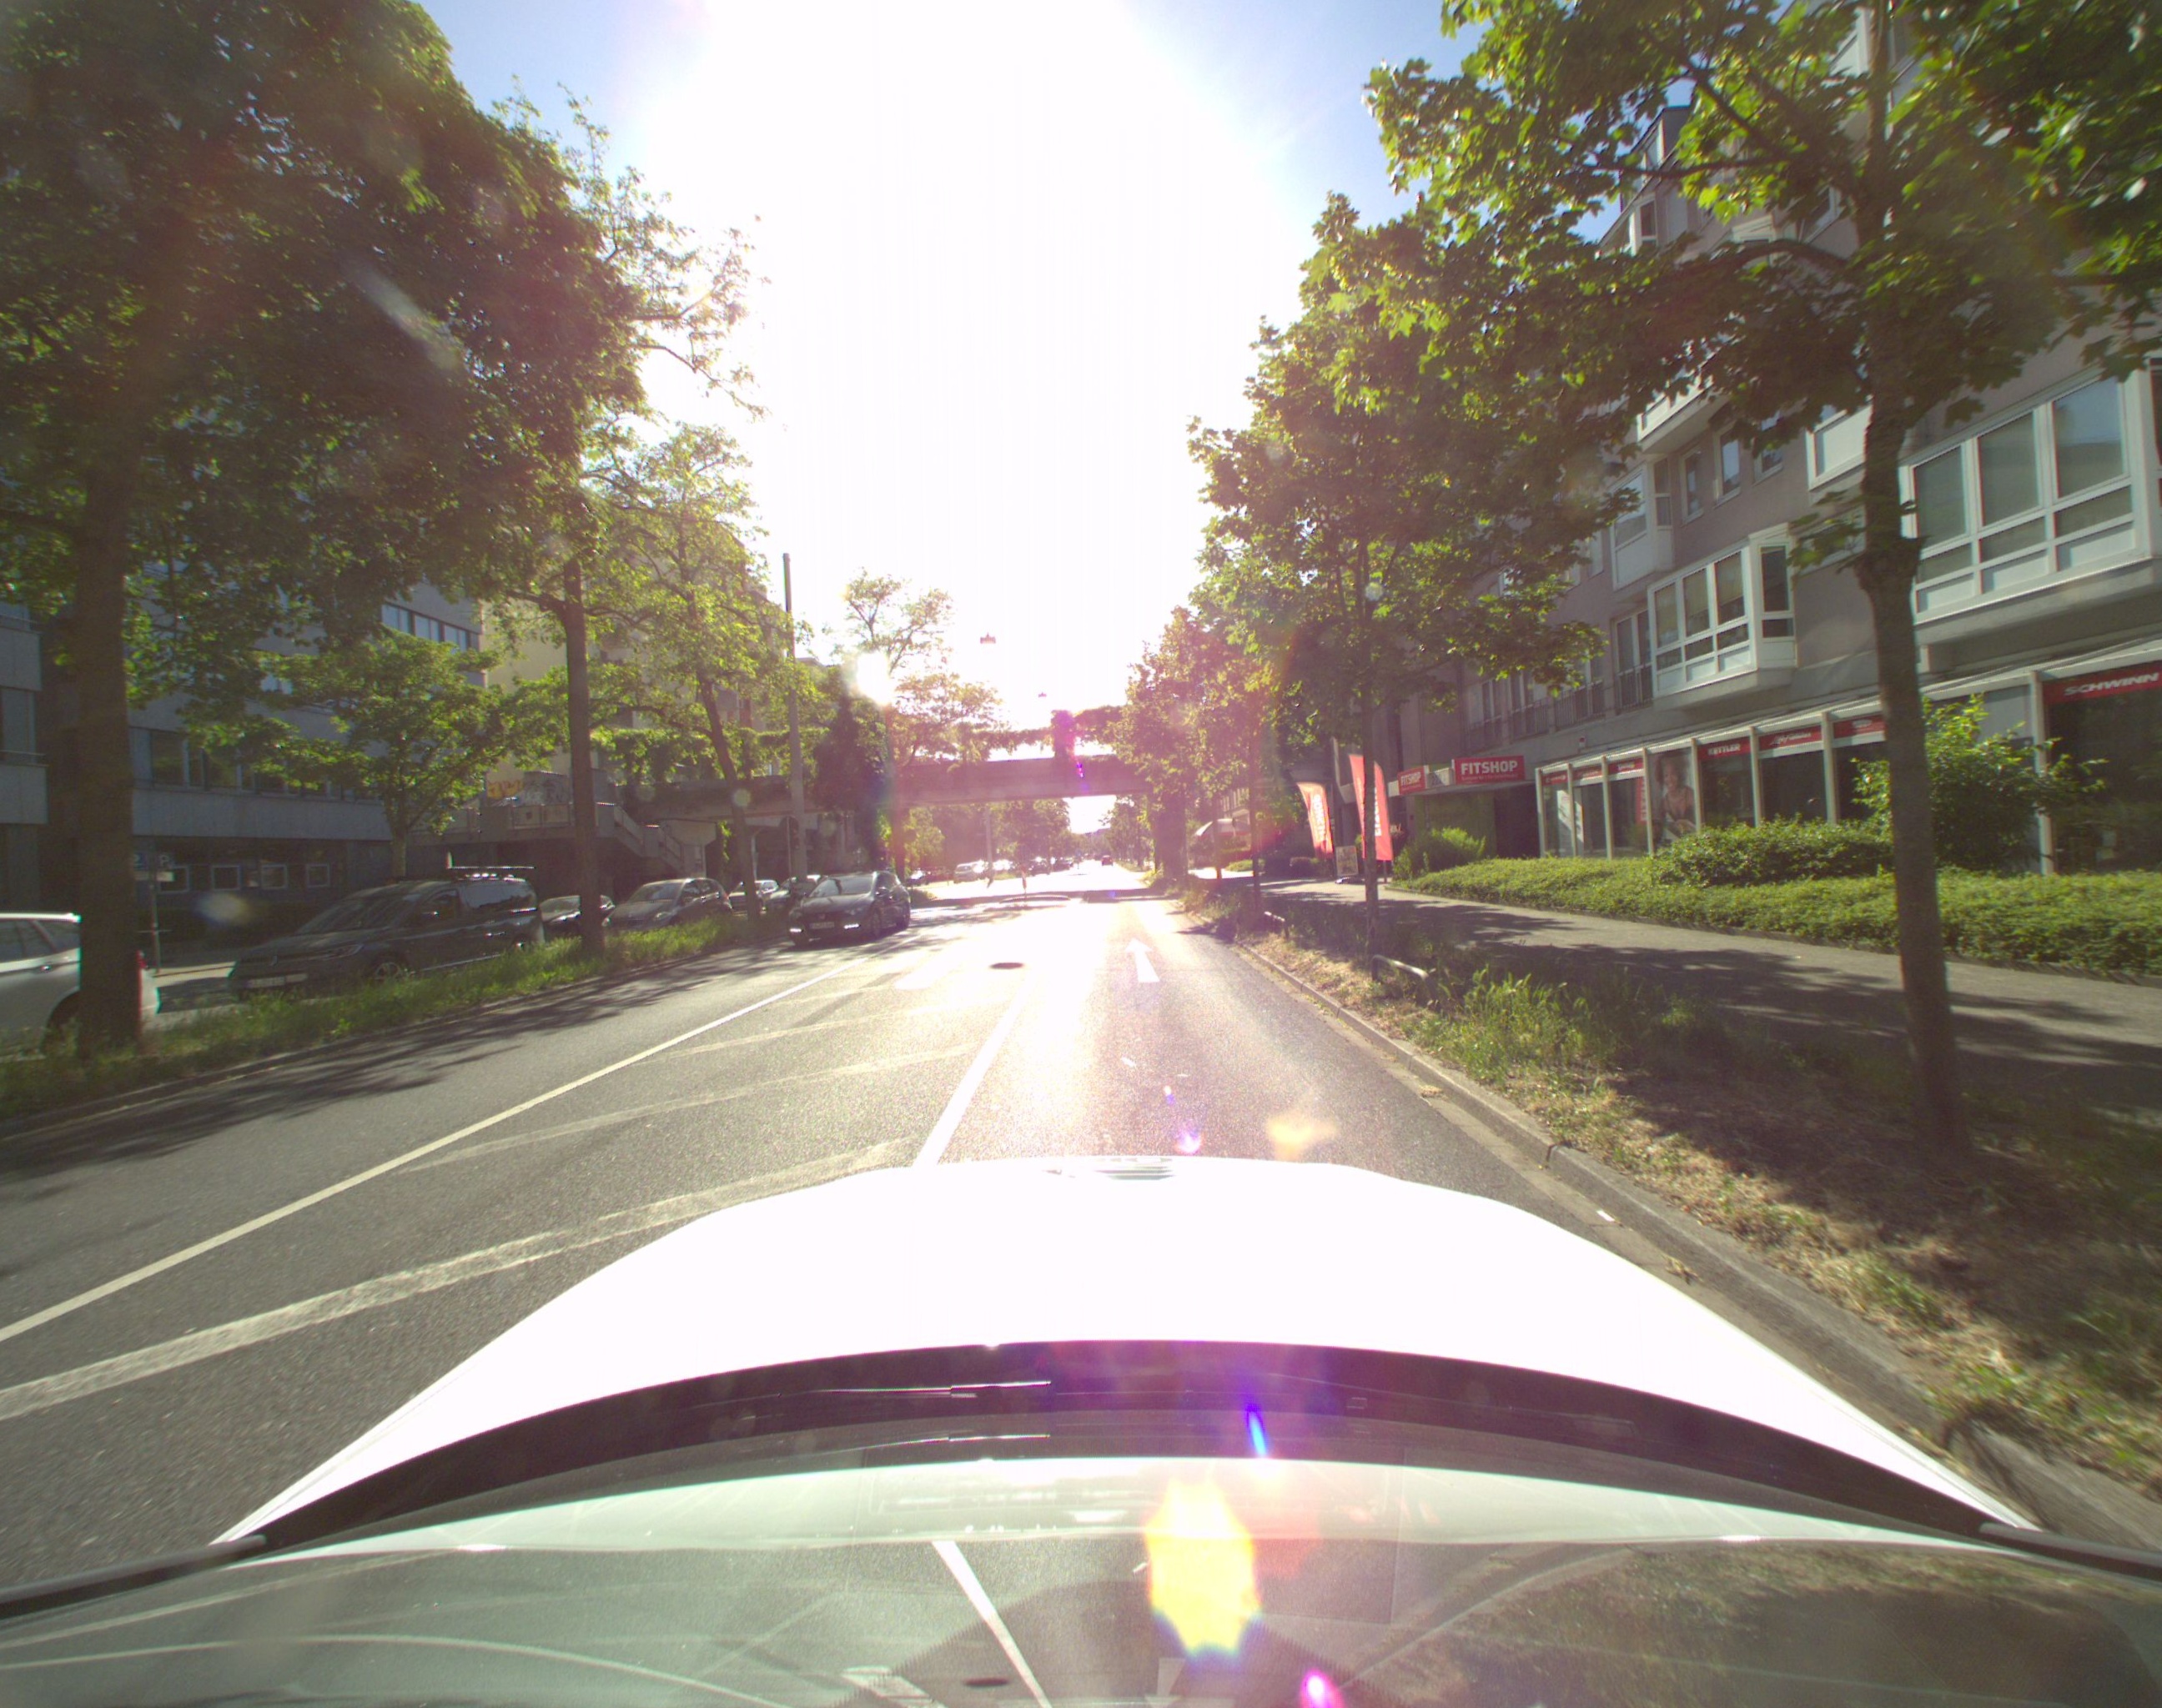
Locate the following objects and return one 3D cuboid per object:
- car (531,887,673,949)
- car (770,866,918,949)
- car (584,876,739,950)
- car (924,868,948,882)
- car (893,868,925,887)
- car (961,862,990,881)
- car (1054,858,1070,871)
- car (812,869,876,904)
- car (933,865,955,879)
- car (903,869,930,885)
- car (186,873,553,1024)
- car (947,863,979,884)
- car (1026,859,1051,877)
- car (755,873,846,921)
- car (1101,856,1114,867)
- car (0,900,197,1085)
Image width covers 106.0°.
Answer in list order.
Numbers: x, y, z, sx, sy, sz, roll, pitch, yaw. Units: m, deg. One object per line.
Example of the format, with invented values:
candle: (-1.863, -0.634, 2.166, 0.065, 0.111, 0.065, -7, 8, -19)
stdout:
car: (-15.189, 1.965, 26.136, 1.849, 1.523, 4.319, -4, 0, 1)
car: (-5.186, 1.112, 18.457, 1.849, 1.439, 4.320, -5, 0, 2)
car: (-10.726, 1.457, 21.156, 1.848, 1.568, 3.873, -2, 0, 2)
car: (-16.664, 2.390, 93.550, 1.849, 1.523, 4.319, -2, 0, 1)
car: (-15.265, 2.074, 72.563, 1.849, 1.523, 4.319, -2, 0, 1)
car: (-9.129, 1.483, 71.033, 1.849, 1.523, 4.319, -2, 0, 1)
car: (-2.356, 1.261, 101.788, 1.849, 1.523, 4.319, -2, 0, 1)
car: (-10.135, 1.362, 35.059, 1.627, 1.307, 3.582, -2, 0, 0)
car: (-16.748, 2.188, 99.513, 1.849, 1.523, 4.319, -2, 0, 1)
car: (-17.072, 2.392, 84.774, 1.849, 1.523, 4.319, -2, 0, 1)
car: (-11.042, 1.329, 13.227, 1.849, 1.850, 4.562, -2, 0, 1)
car: (-9.323, 1.526, 64.601, 1.849, 1.523, 4.077, -2, 0, 0)
car: (-3.804, 1.258, 73.633, 1.849, 1.523, 4.319, -2, 0, 1)
car: (-10.515, 1.551, 30.851, 1.849, 1.523, 4.319, -2, 0, 1)
car: (3.834, 1.042, 117.068, 1.848, 1.523, 4.322, -2, 0, 3)
car: (-11.333, 1.418, 7.300, 1.852, 1.684, 4.658, -2, 0, -4)
